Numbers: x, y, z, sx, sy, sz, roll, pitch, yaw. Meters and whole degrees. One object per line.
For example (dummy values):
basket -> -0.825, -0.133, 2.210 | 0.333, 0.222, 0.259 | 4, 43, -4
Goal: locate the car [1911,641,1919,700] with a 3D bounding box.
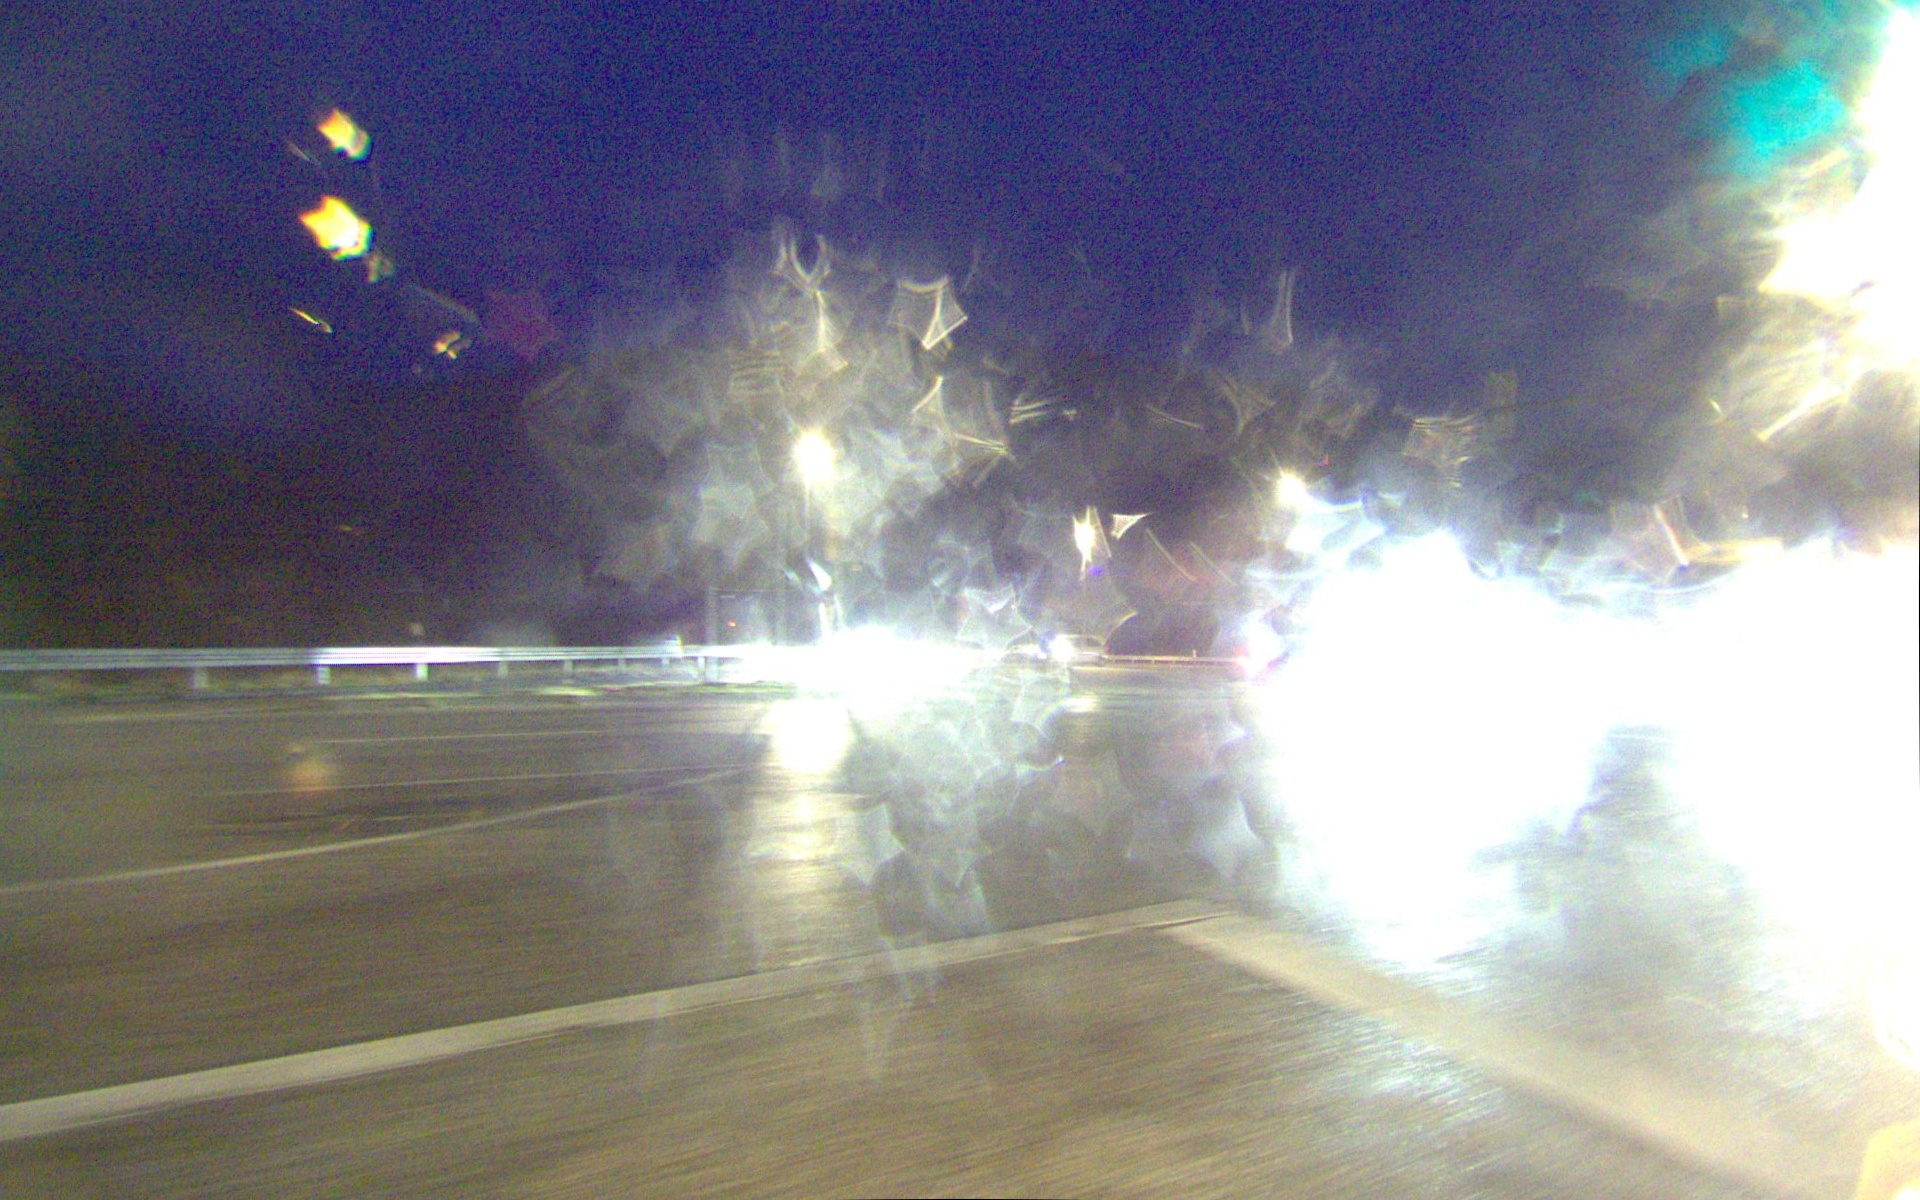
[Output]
car -> 27.145, 1.936, 26.664 | 3.603, 1.545, 1.580 | 3, -2, -25

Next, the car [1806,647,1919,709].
car -> 28.294, 2.408, 31.236 | 3.957, 1.743, 1.982 | 3, -2, -33

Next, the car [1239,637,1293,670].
car -> 18.247, 3.172, 59.809 | 1.695, 1.856, 3.982 | 0, -2, 39

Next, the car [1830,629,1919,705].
car -> 23.380, 1.666, 24.700 | 3.898, 1.713, 1.675 | 3, -2, -27

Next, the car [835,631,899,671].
car -> -3.787, 2.087, 41.709 | 2.137, 1.468, 4.138 | 2, -2, 2

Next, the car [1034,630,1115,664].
car -> 7.388, 3.010, 64.577 | 4.864, 1.965, 1.985 | 3, -2, -28

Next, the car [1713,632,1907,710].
car -> 19.265, 1.591, 22.731 | 4.651, 1.592, 1.693 | 2, -1, -27

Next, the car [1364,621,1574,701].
car -> 11.253, 1.328, 22.124 | 4.856, 1.592, 1.784 | 2, -1, -30

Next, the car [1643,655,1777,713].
car -> 20.928, 2.344, 28.021 | 3.684, 1.473, 1.660 | 3, -2, -29
